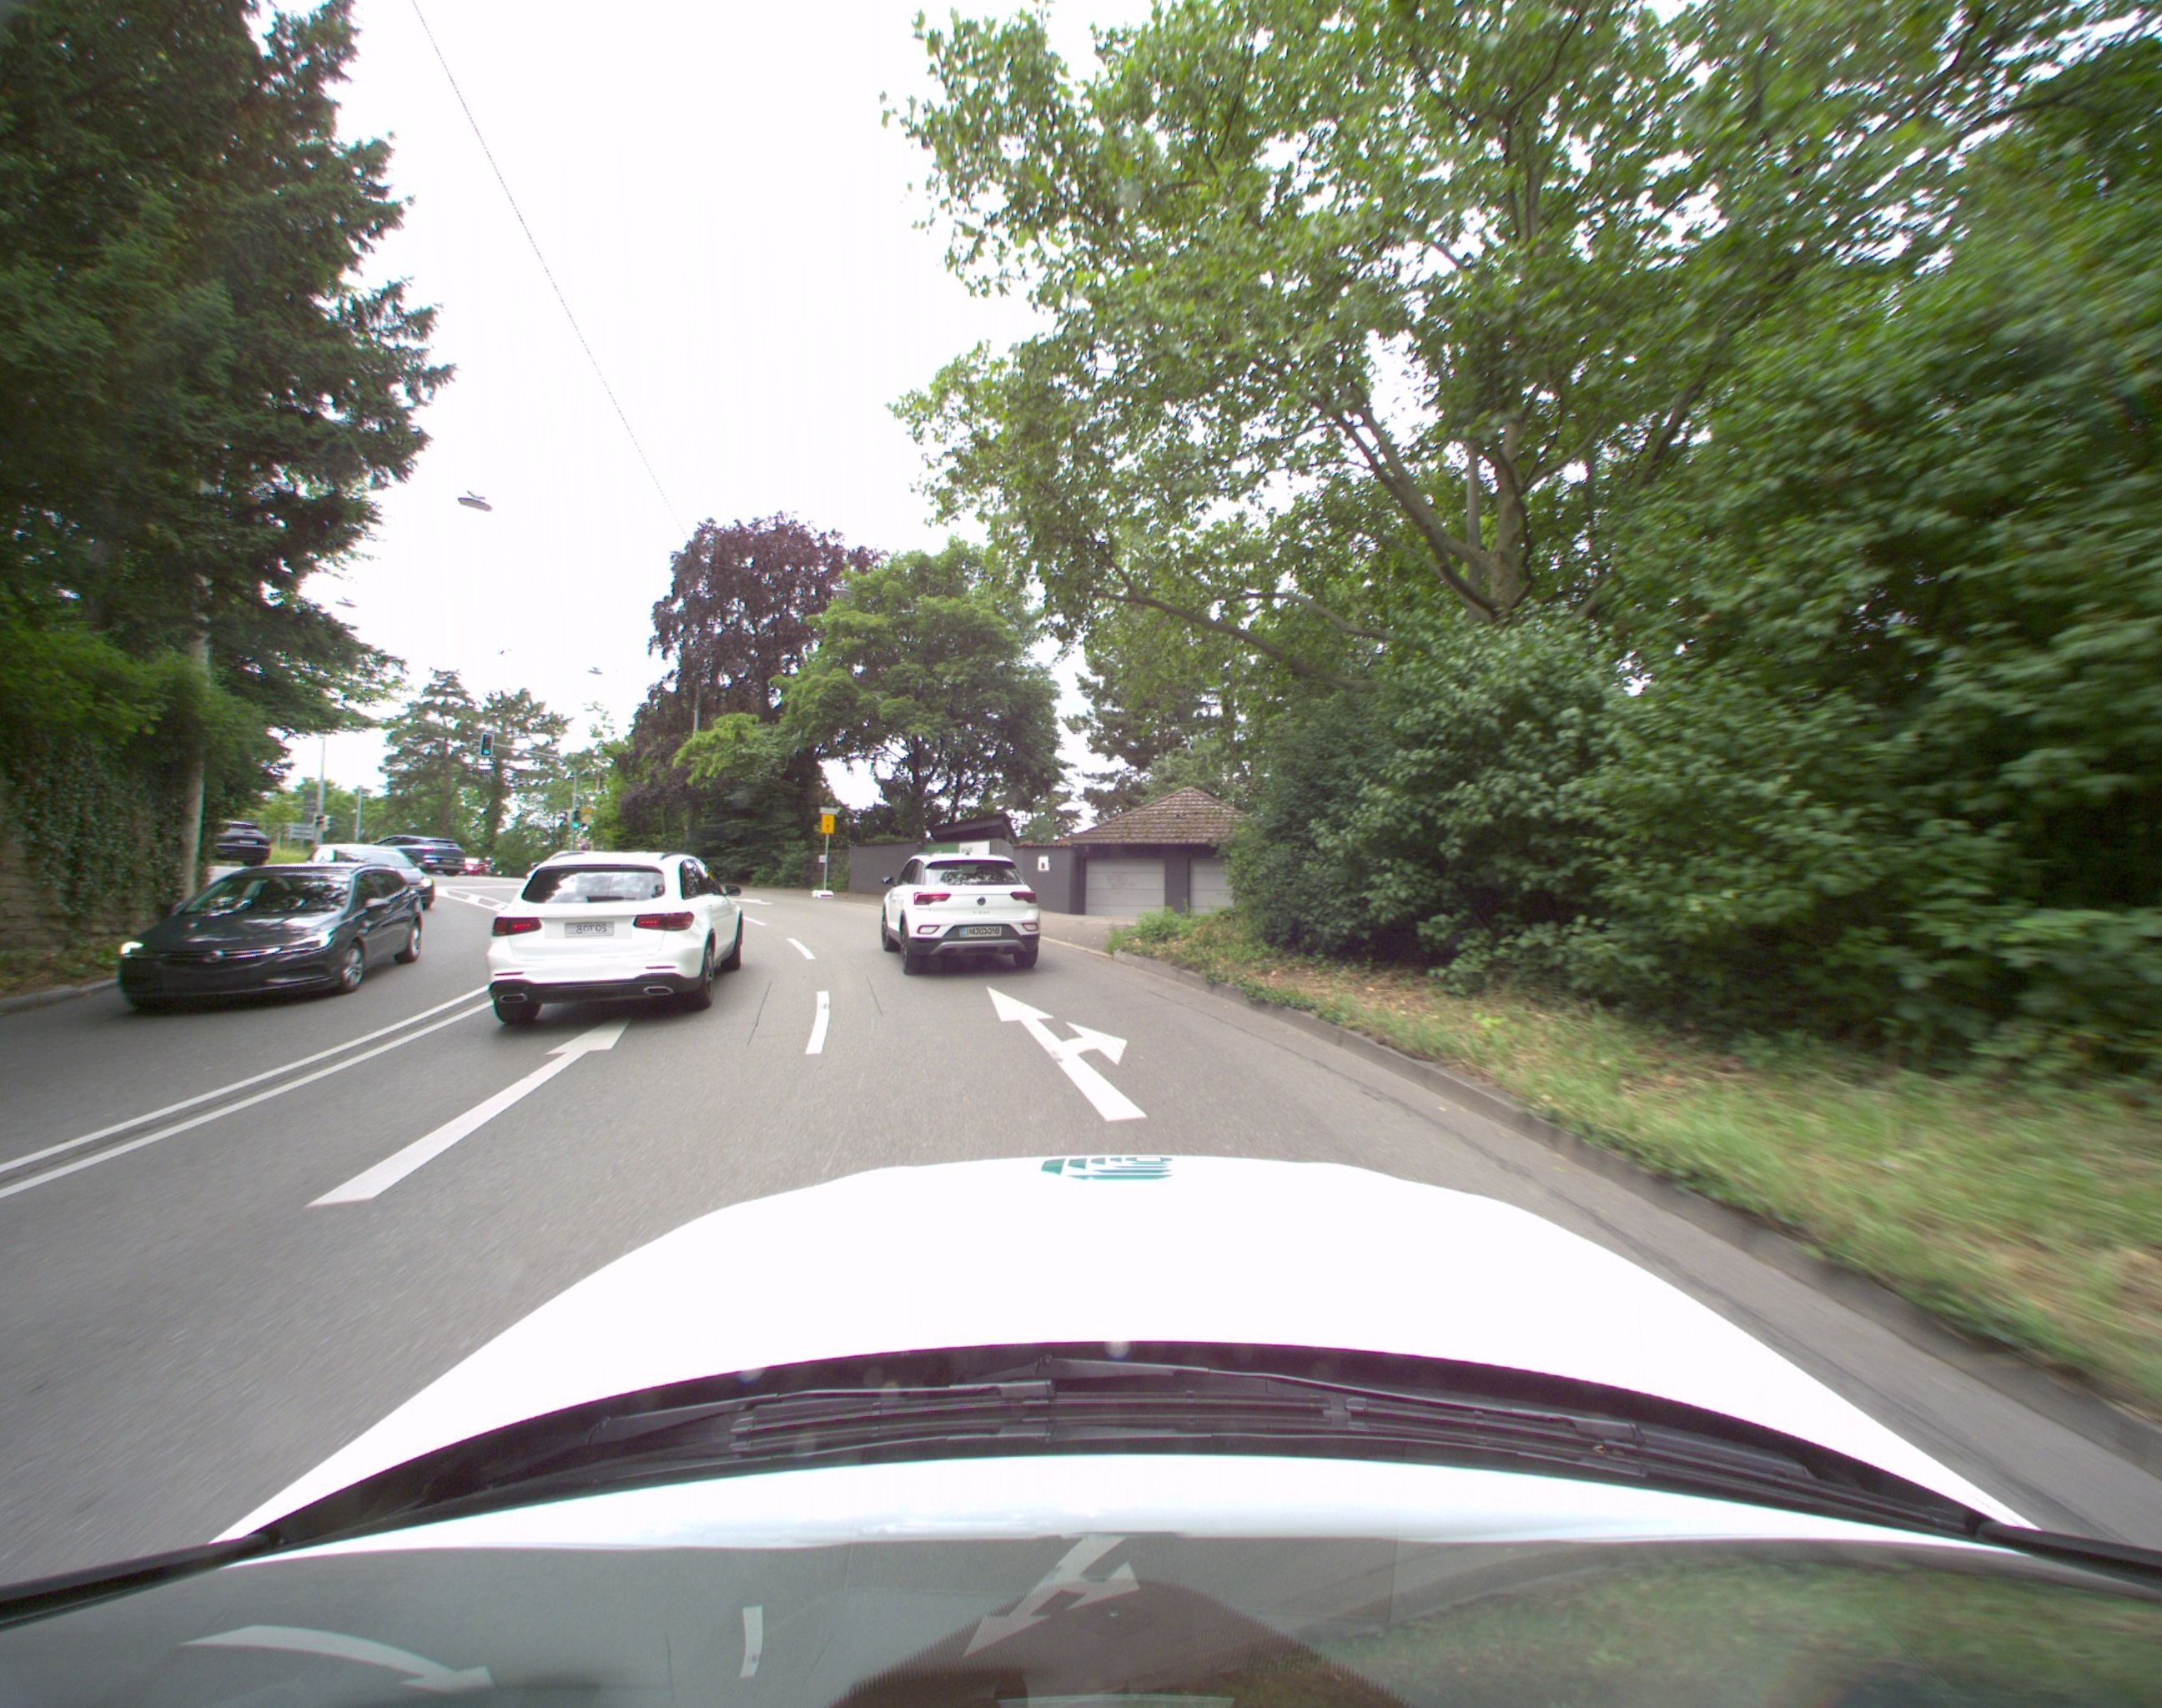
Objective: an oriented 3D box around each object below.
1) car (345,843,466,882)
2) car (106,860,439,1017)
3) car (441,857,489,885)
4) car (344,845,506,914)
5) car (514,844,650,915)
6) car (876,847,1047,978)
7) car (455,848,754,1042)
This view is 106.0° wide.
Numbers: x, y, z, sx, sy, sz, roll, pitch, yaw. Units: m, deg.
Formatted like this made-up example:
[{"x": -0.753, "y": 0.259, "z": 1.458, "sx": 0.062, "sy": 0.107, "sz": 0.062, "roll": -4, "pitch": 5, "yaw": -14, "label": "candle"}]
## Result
[{"x": -27.216, "y": 0.331, "z": 32.844, "sx": 3.818, "sy": 1.419, "sz": 1.639, "roll": 2, "pitch": 1, "yaw": 11, "label": "car"}, {"x": -9.832, "y": 0.858, "z": 10.376, "sx": 1.666, "sy": 1.440, "sz": 4.259, "roll": -1, "pitch": 1, "yaw": -26, "label": "car"}, {"x": -37.250, "y": 1.072, "z": 49.331, "sx": 1.677, "sy": 1.468, "sz": 3.918, "roll": 2, "pitch": -4, "yaw": -28, "label": "car"}, {"x": -15.842, "y": 0.530, "z": 19.636, "sx": 3.949, "sy": 1.443, "sz": 1.819, "roll": 1, "pitch": 1, "yaw": 31, "label": "car"}, {"x": -12.928, "y": 0.577, "z": 20.958, "sx": 4.718, "sy": 1.534, "sz": 1.882, "roll": 2, "pitch": 1, "yaw": 45, "label": "car"}, {"x": -1.961, "y": 0.694, "z": 12.110, "sx": 1.760, "sy": 1.552, "sz": 4.310, "roll": -1, "pitch": 0, "yaw": -19, "label": "car"}, {"x": -5.093, "y": 0.763, "z": 9.491, "sx": 1.863, "sy": 1.605, "sz": 4.646, "roll": -1, "pitch": 1, "yaw": -16, "label": "car"}]
